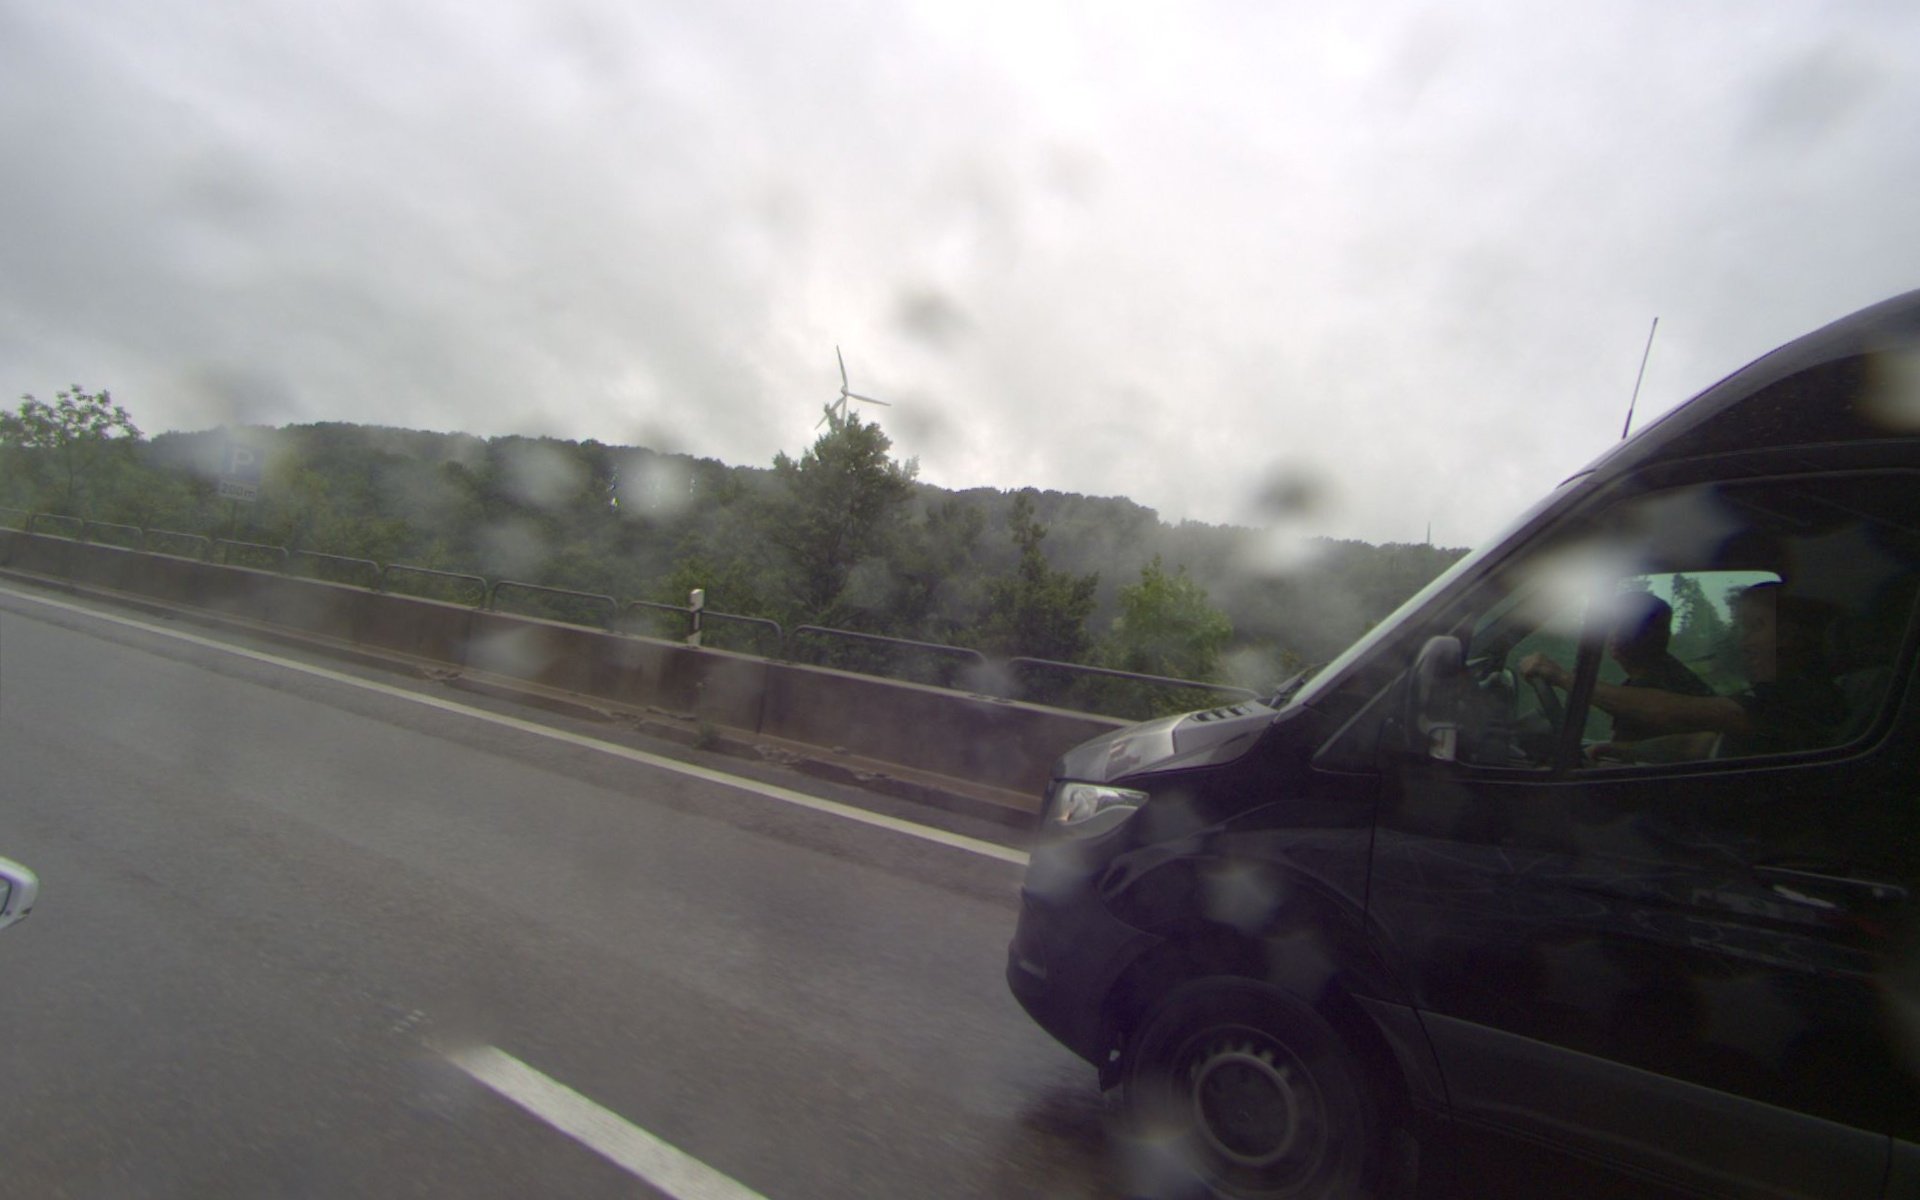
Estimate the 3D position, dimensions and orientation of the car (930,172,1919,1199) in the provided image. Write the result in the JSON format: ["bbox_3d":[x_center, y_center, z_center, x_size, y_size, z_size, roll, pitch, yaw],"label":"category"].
[{"bbox_3d":[3.349,0.651,2.066,6.594,2.524,1.996,7,-1,32],"label":"car"}]
